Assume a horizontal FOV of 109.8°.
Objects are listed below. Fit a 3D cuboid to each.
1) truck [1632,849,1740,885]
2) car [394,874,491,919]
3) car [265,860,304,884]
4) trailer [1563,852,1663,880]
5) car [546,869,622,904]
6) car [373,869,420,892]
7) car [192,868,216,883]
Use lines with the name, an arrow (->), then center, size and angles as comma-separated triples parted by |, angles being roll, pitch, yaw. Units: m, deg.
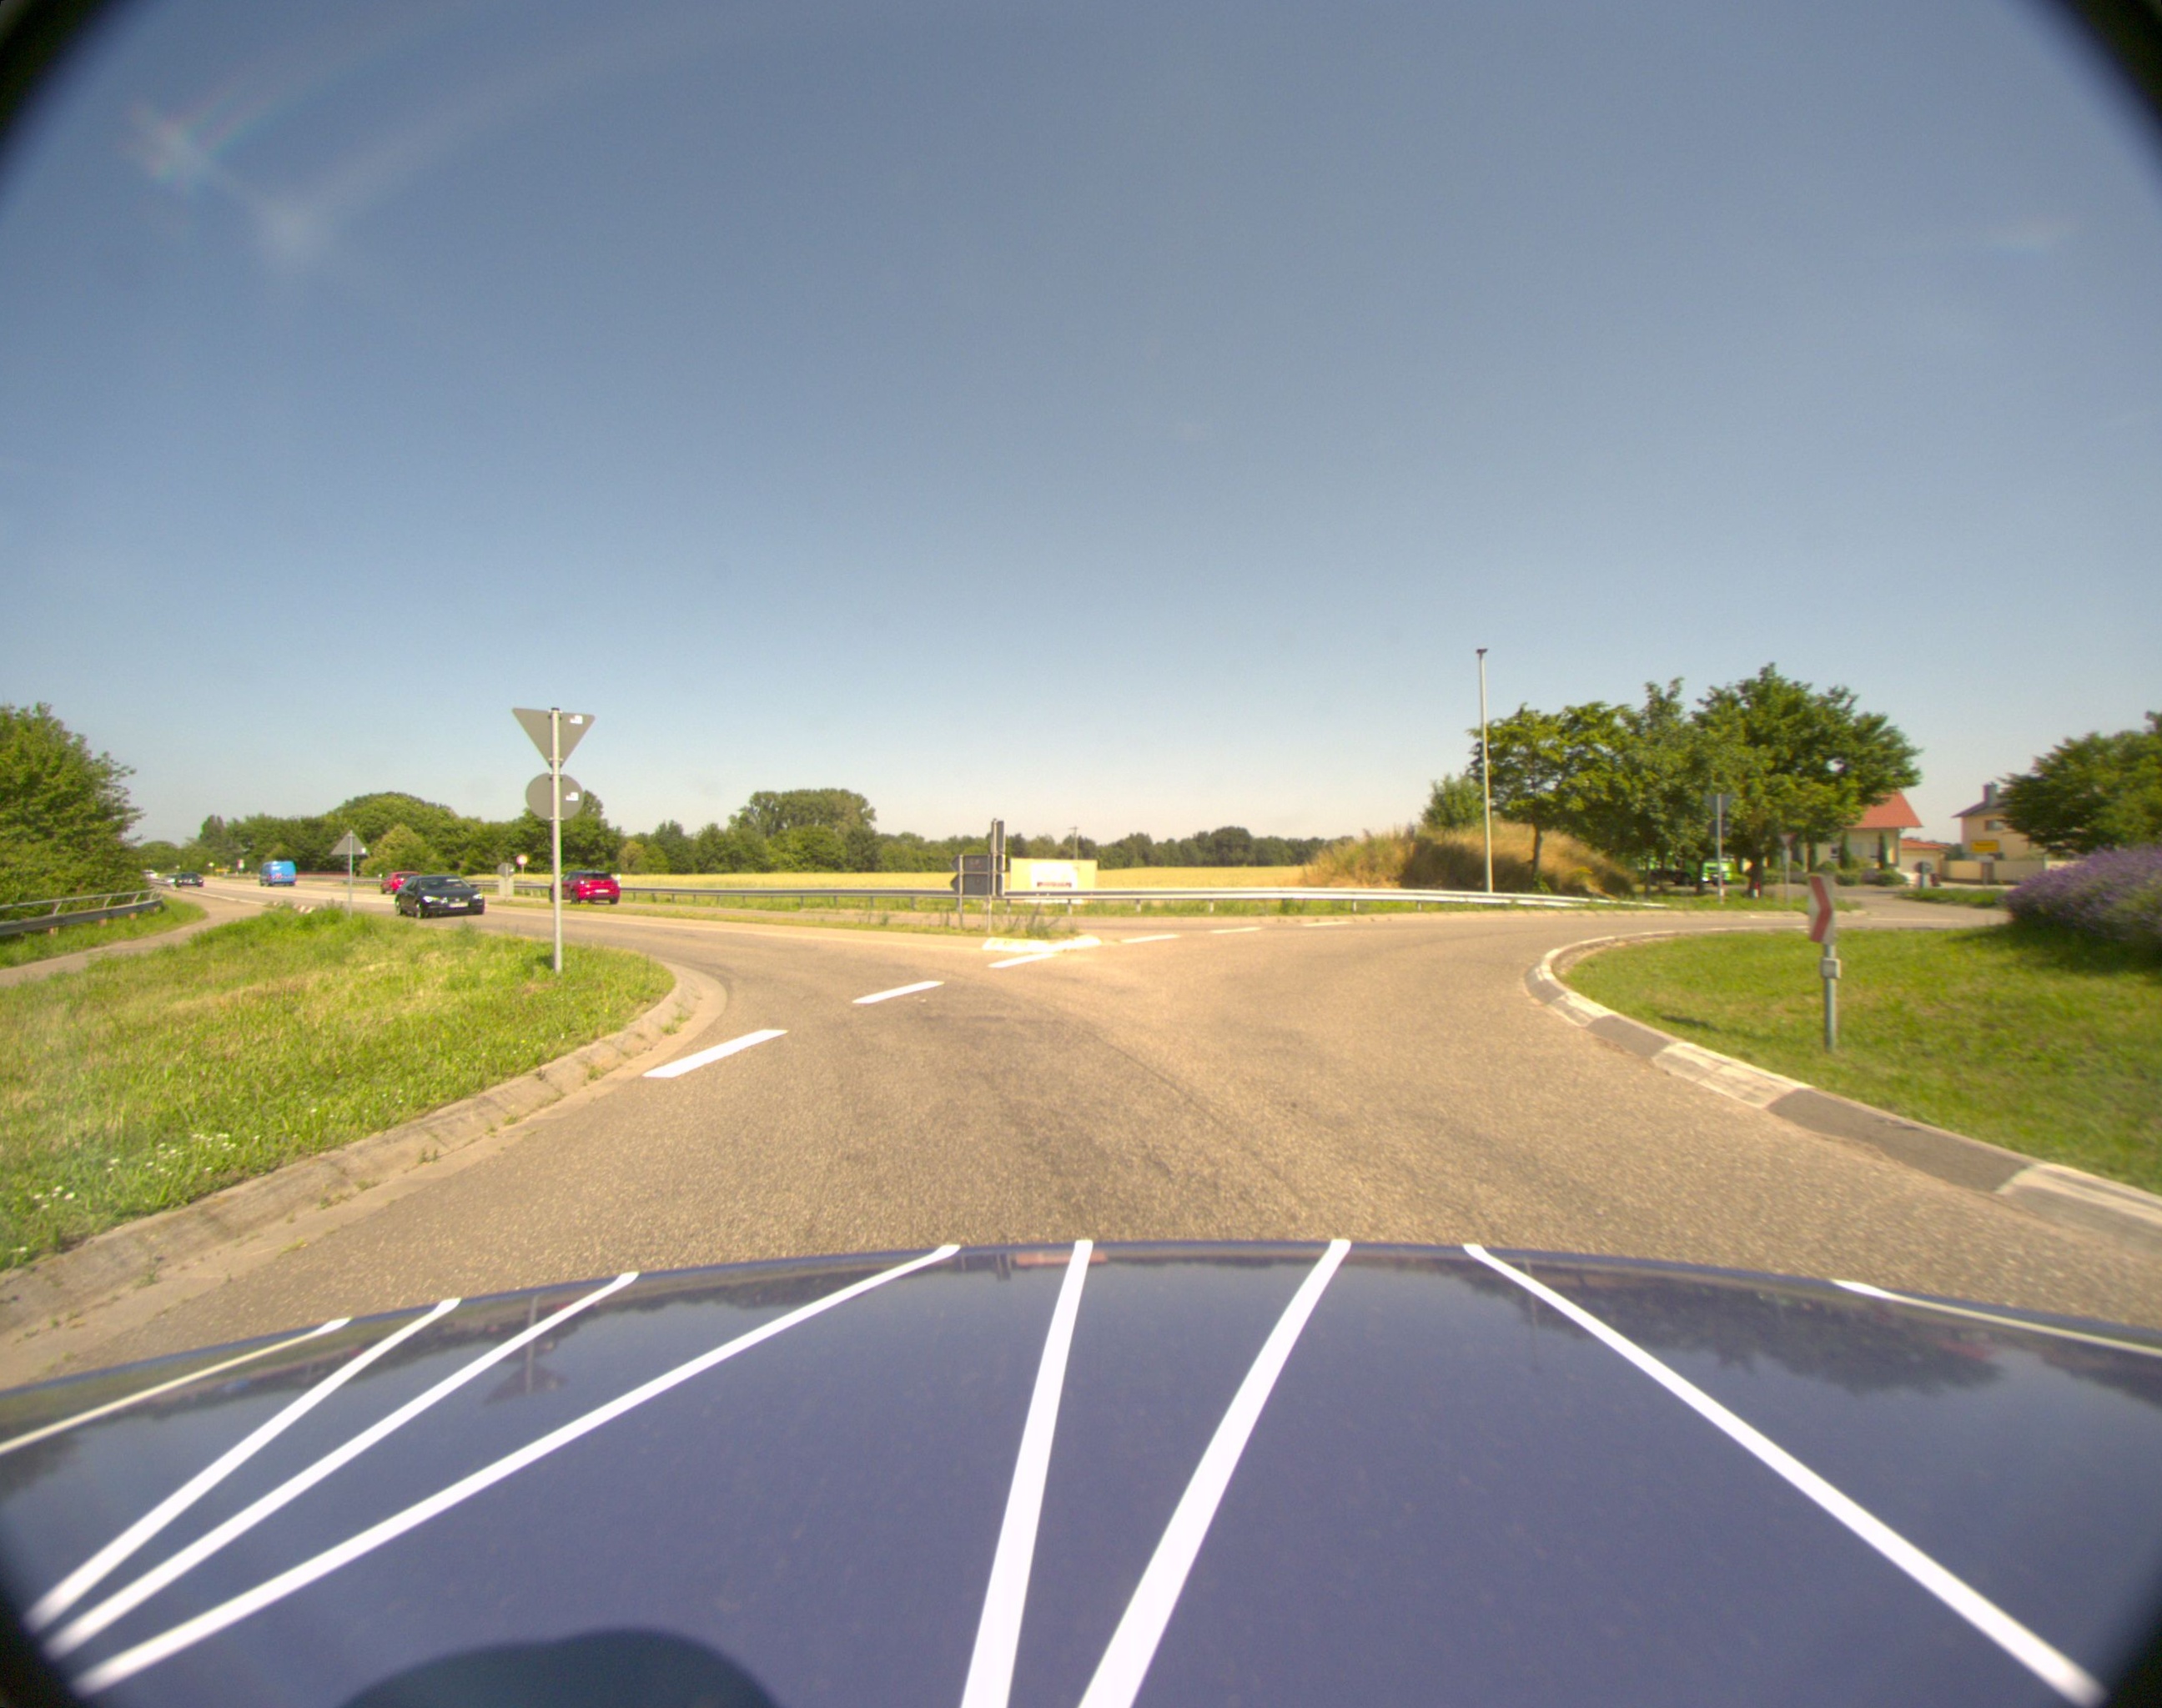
truck -> 47.642, 0.950, 60.161 | 2.519, 2.634, 7.687 | -1, 0, 1
car -> -22.866, 1.447, 27.167 | 4.168, 1.390, 1.812 | 0, 1, 38
car -> -86.089, 1.937, 82.111 | 7.269, 2.595, 2.005 | -1, -2, 37
trailer -> 48.086, 0.984, 69.218 | 1.998, 2.264, 10.492 | -1, 0, 2
car -> -22.645, 1.458, 34.568 | 3.820, 1.513, 1.754 | -2, -2, 38
car -> -47.106, 1.791, 52.252 | 3.791, 1.482, 1.636 | 0, -1, 36
car -> -97.952, 2.375, 84.835 | 3.526, 1.638, 1.465 | -1, 1, 37
